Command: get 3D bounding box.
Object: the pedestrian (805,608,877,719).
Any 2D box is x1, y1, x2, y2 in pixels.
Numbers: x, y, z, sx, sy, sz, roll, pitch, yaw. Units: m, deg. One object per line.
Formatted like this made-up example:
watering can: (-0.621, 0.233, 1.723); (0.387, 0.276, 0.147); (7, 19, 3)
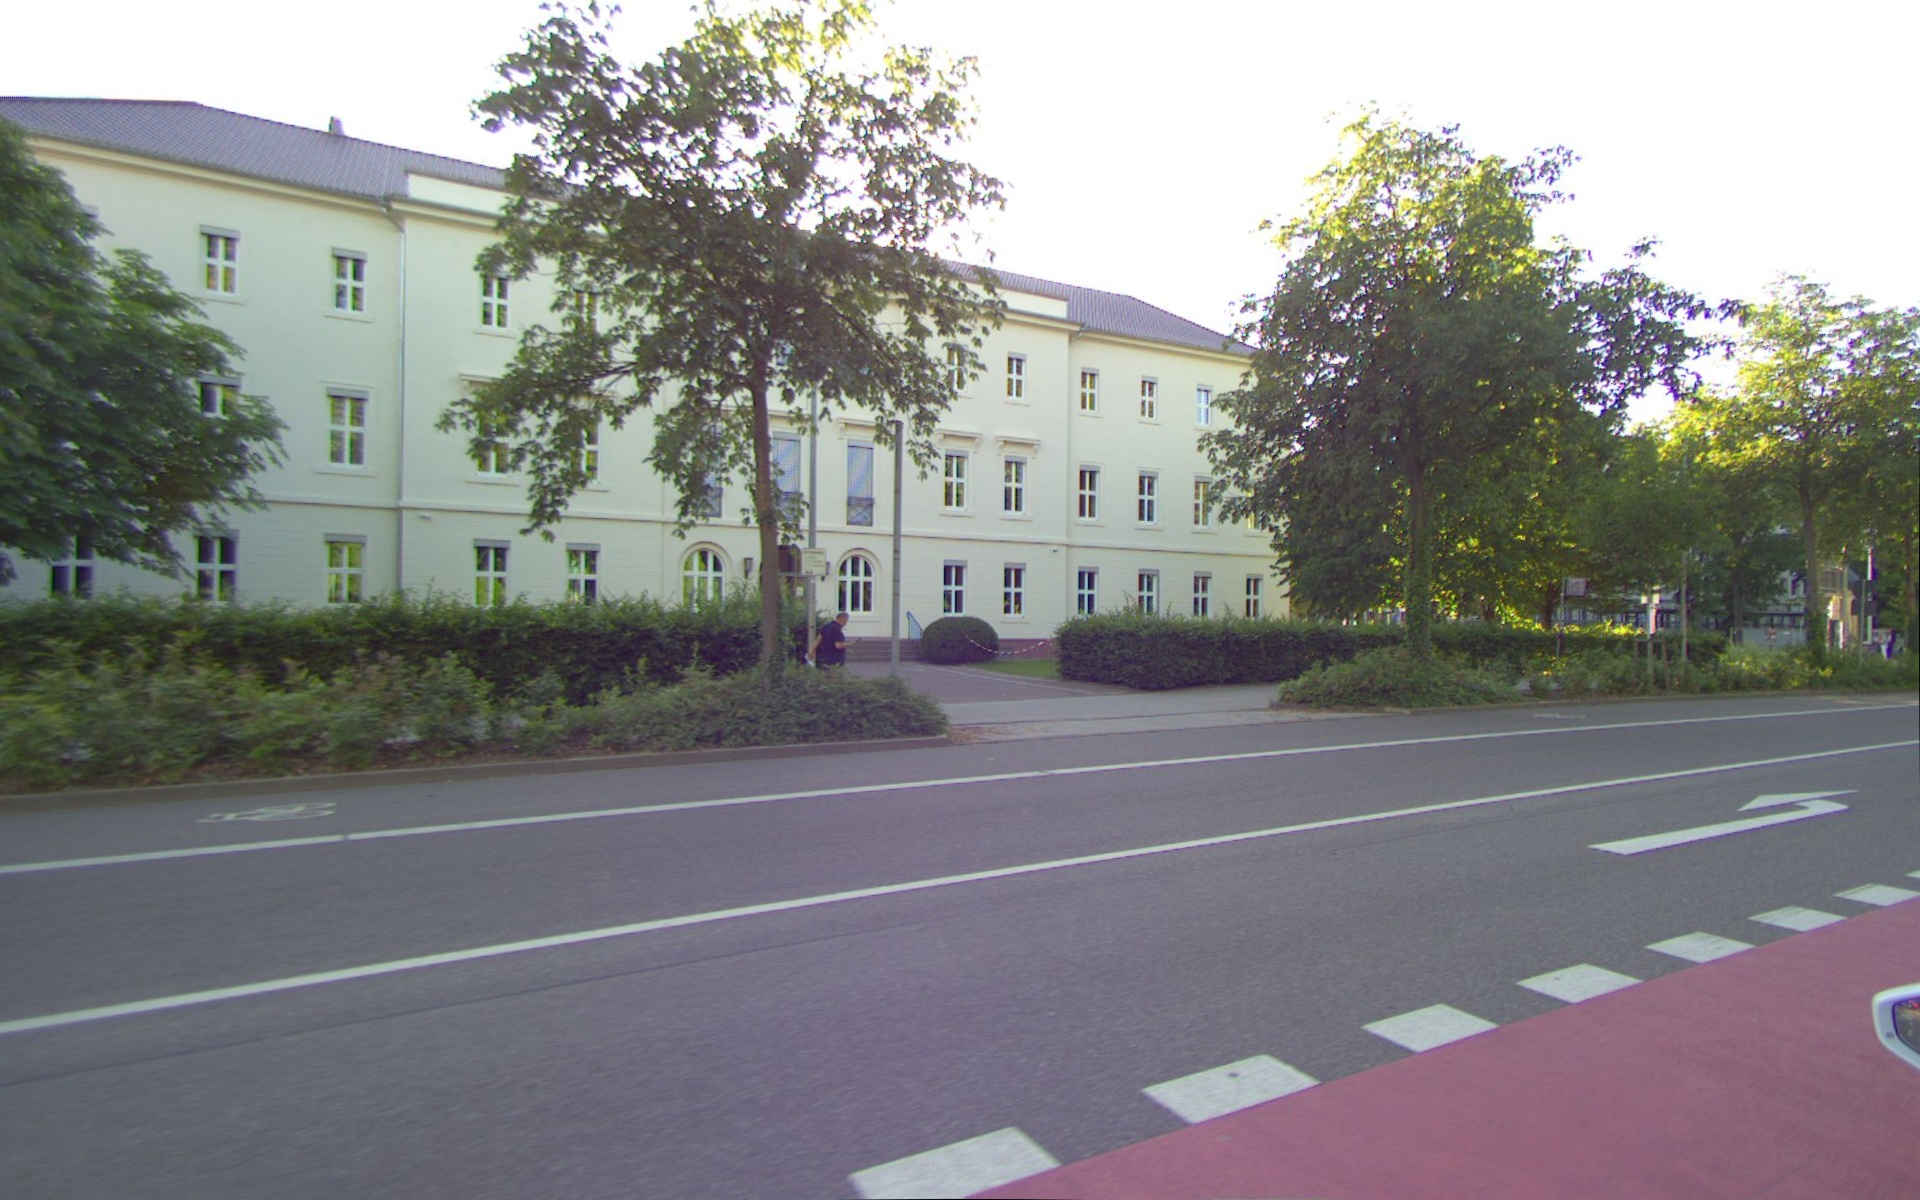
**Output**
pedestrian: (-2.077, 1.094, 17.537); (0.990, 1.876, 0.851); (1, -2, -31)
